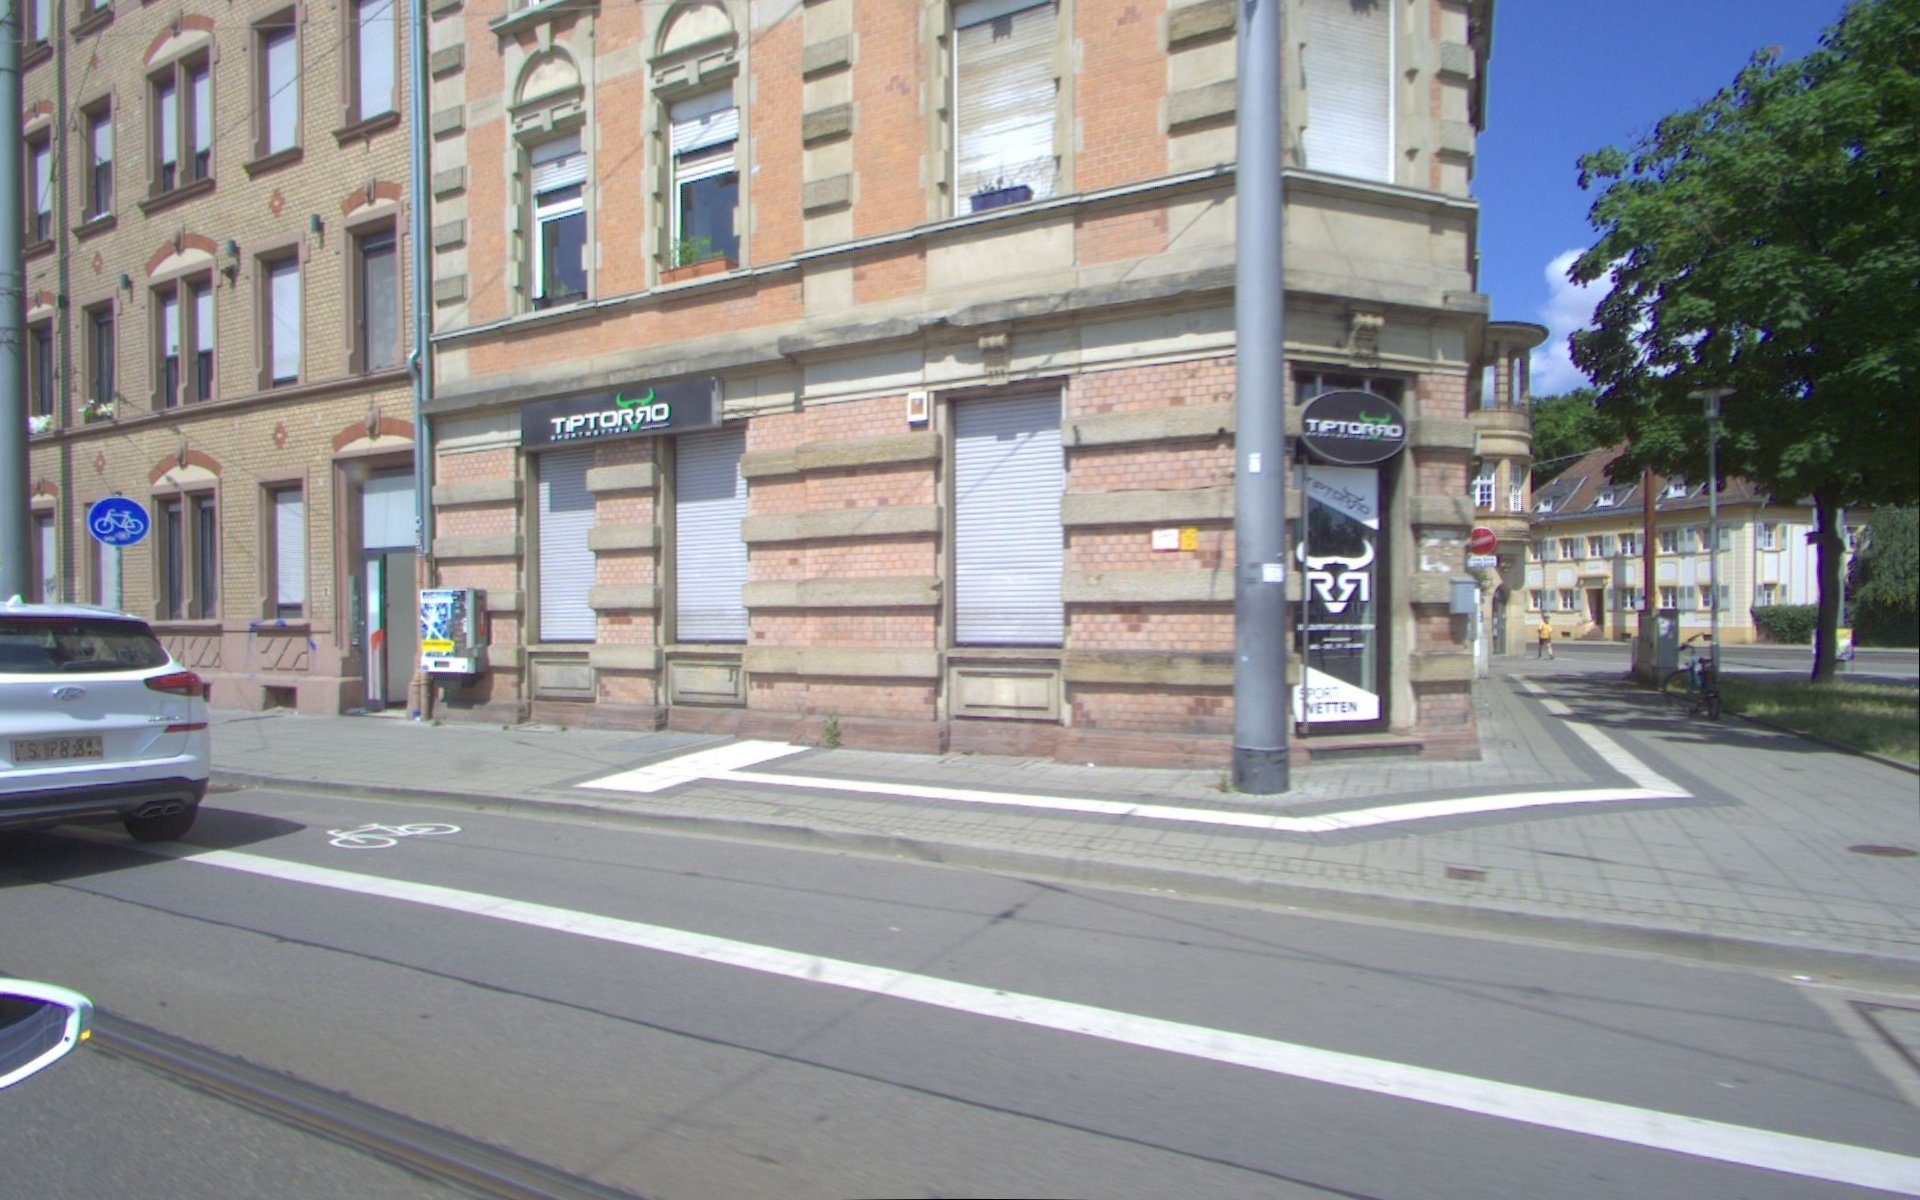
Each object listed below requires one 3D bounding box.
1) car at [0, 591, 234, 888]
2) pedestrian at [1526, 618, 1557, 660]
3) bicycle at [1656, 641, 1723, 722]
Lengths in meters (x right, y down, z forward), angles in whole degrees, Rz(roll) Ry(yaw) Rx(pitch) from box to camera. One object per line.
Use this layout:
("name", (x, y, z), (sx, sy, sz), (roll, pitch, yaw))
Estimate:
("car", (-7.020, 0.835, 6.816), (4.118, 1.654, 1.850), (-2, -2, 30))
("pedestrian", (22.651, 1.514, 39.028), (0.851, 1.557, 0.900), (2, 2, 22))
("bicycle", (10.719, 1.170, 14.762), (0.754, 1.064, 1.642), (0, 0, 35))
